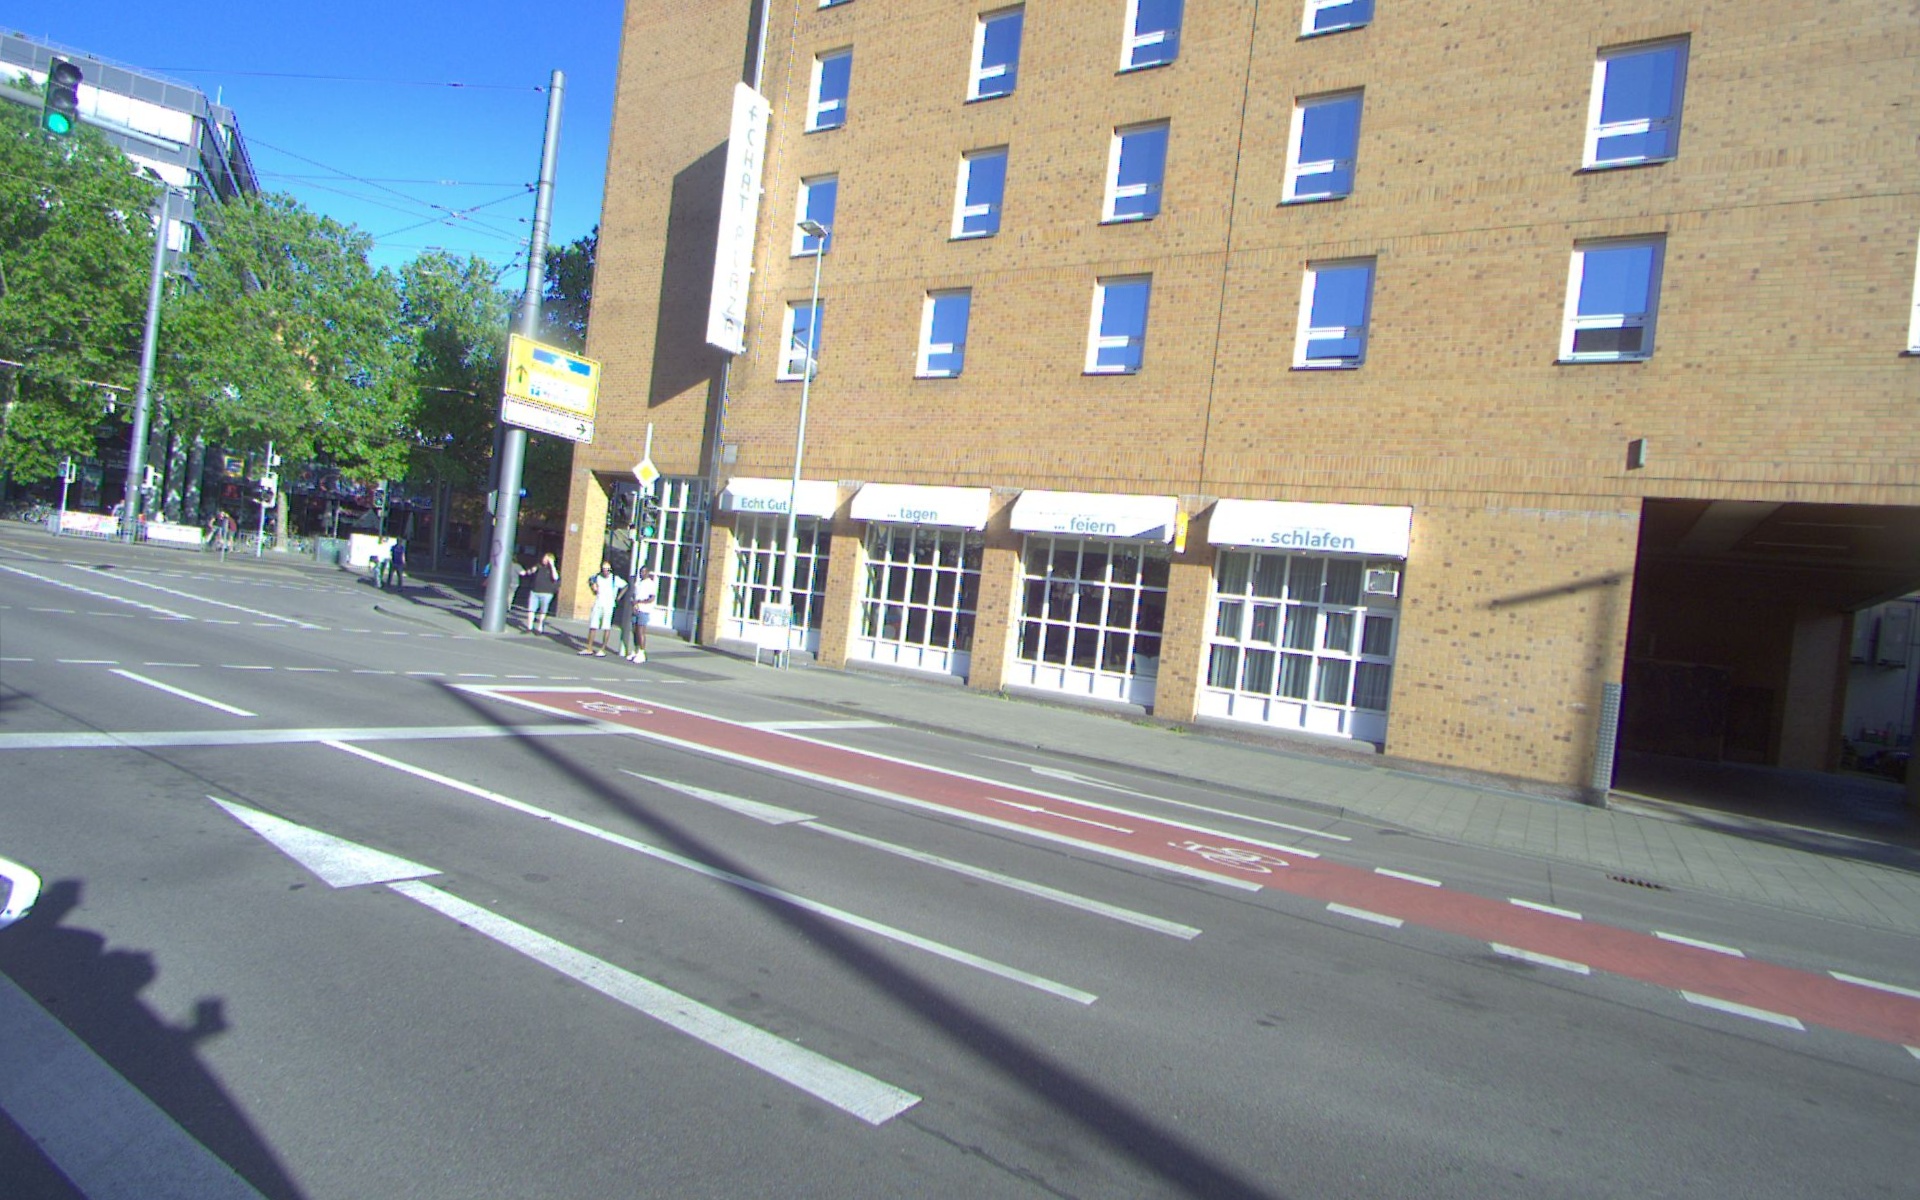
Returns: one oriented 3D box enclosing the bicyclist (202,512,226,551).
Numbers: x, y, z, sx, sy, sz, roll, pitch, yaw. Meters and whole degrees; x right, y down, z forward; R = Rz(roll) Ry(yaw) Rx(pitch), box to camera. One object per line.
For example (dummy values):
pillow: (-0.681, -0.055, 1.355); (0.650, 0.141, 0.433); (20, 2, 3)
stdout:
bicyclist: (-31.151, -2.845, 42.009); (0.563, 1.536, 0.626); (8, -2, -43)

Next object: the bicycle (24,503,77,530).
bicycle: (-45.993, -4.222, 50.899); (0.354, 1.058, 1.884); (6, -2, 31)

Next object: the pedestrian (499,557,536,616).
pedestrian: (-11.883, -0.352, 27.015); (0.543, 1.495, 0.593); (6, 0, 32)

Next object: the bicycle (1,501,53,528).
bicycle: (-48.728, -4.477, 52.576); (0.354, 1.058, 1.885); (7, -2, 31)

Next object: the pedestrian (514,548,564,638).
pedestrian: (-8.939, -0.147, 21.376); (0.726, 1.813, 0.510); (7, -1, -19)

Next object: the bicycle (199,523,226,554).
bicycle: (-31.262, -2.581, 42.061); (0.564, 1.192, 2.302); (8, -2, -43)

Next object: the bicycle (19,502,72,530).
bicycle: (-46.630, -4.273, 51.331); (0.354, 1.058, 1.884); (6, -2, 31)

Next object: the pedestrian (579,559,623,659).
pedestrian: (-6.795, 0.167, 19.035); (0.586, 1.802, 0.678); (6, 1, -25)

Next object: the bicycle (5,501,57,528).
bicycle: (-48.314, -4.422, 52.343); (0.354, 1.058, 1.884); (6, -2, 31)

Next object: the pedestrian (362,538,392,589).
pedestrian: (-18.471, -1.153, 31.874); (0.564, 1.550, 0.694); (8, -2, -40)

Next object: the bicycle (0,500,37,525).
bicycle: (-50.204, -4.655, 53.253); (0.354, 1.058, 1.885); (7, -2, 31)

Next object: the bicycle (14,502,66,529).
bicycle: (-47.305, -4.329, 51.760); (0.354, 1.058, 1.884); (6, -2, 31)

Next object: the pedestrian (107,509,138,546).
pedestrian: (-42.064, -3.647, 50.517); (0.747, 1.724, 0.834); (6, -1, 32)

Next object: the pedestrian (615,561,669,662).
pedestrian: (-5.937, 0.223, 18.813); (0.583, 1.802, 0.682); (6, 0, 6)

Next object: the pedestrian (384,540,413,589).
pedestrian: (-18.034, -1.147, 32.314); (0.563, 1.496, 0.695); (8, -2, -37)

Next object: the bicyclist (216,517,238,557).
bicyclist: (-36.231, -3.119, 49.702); (0.396, 1.859, 0.585); (6, -1, 31)

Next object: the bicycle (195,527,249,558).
bicycle: (-36.342, -2.823, 49.587); (0.414, 1.228, 2.046); (6, -2, 32)

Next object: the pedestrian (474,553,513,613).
pedestrian: (-12.179, -0.437, 26.275); (0.591, 1.470, 0.593); (6, 0, 32)

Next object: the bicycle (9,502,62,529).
bicycle: (-47.789, -4.368, 52.016); (0.354, 1.058, 1.884); (7, -2, 31)

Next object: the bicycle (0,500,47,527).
bicycle: (-49.204, -4.539, 52.731); (0.354, 1.058, 1.885); (7, -2, 31)
